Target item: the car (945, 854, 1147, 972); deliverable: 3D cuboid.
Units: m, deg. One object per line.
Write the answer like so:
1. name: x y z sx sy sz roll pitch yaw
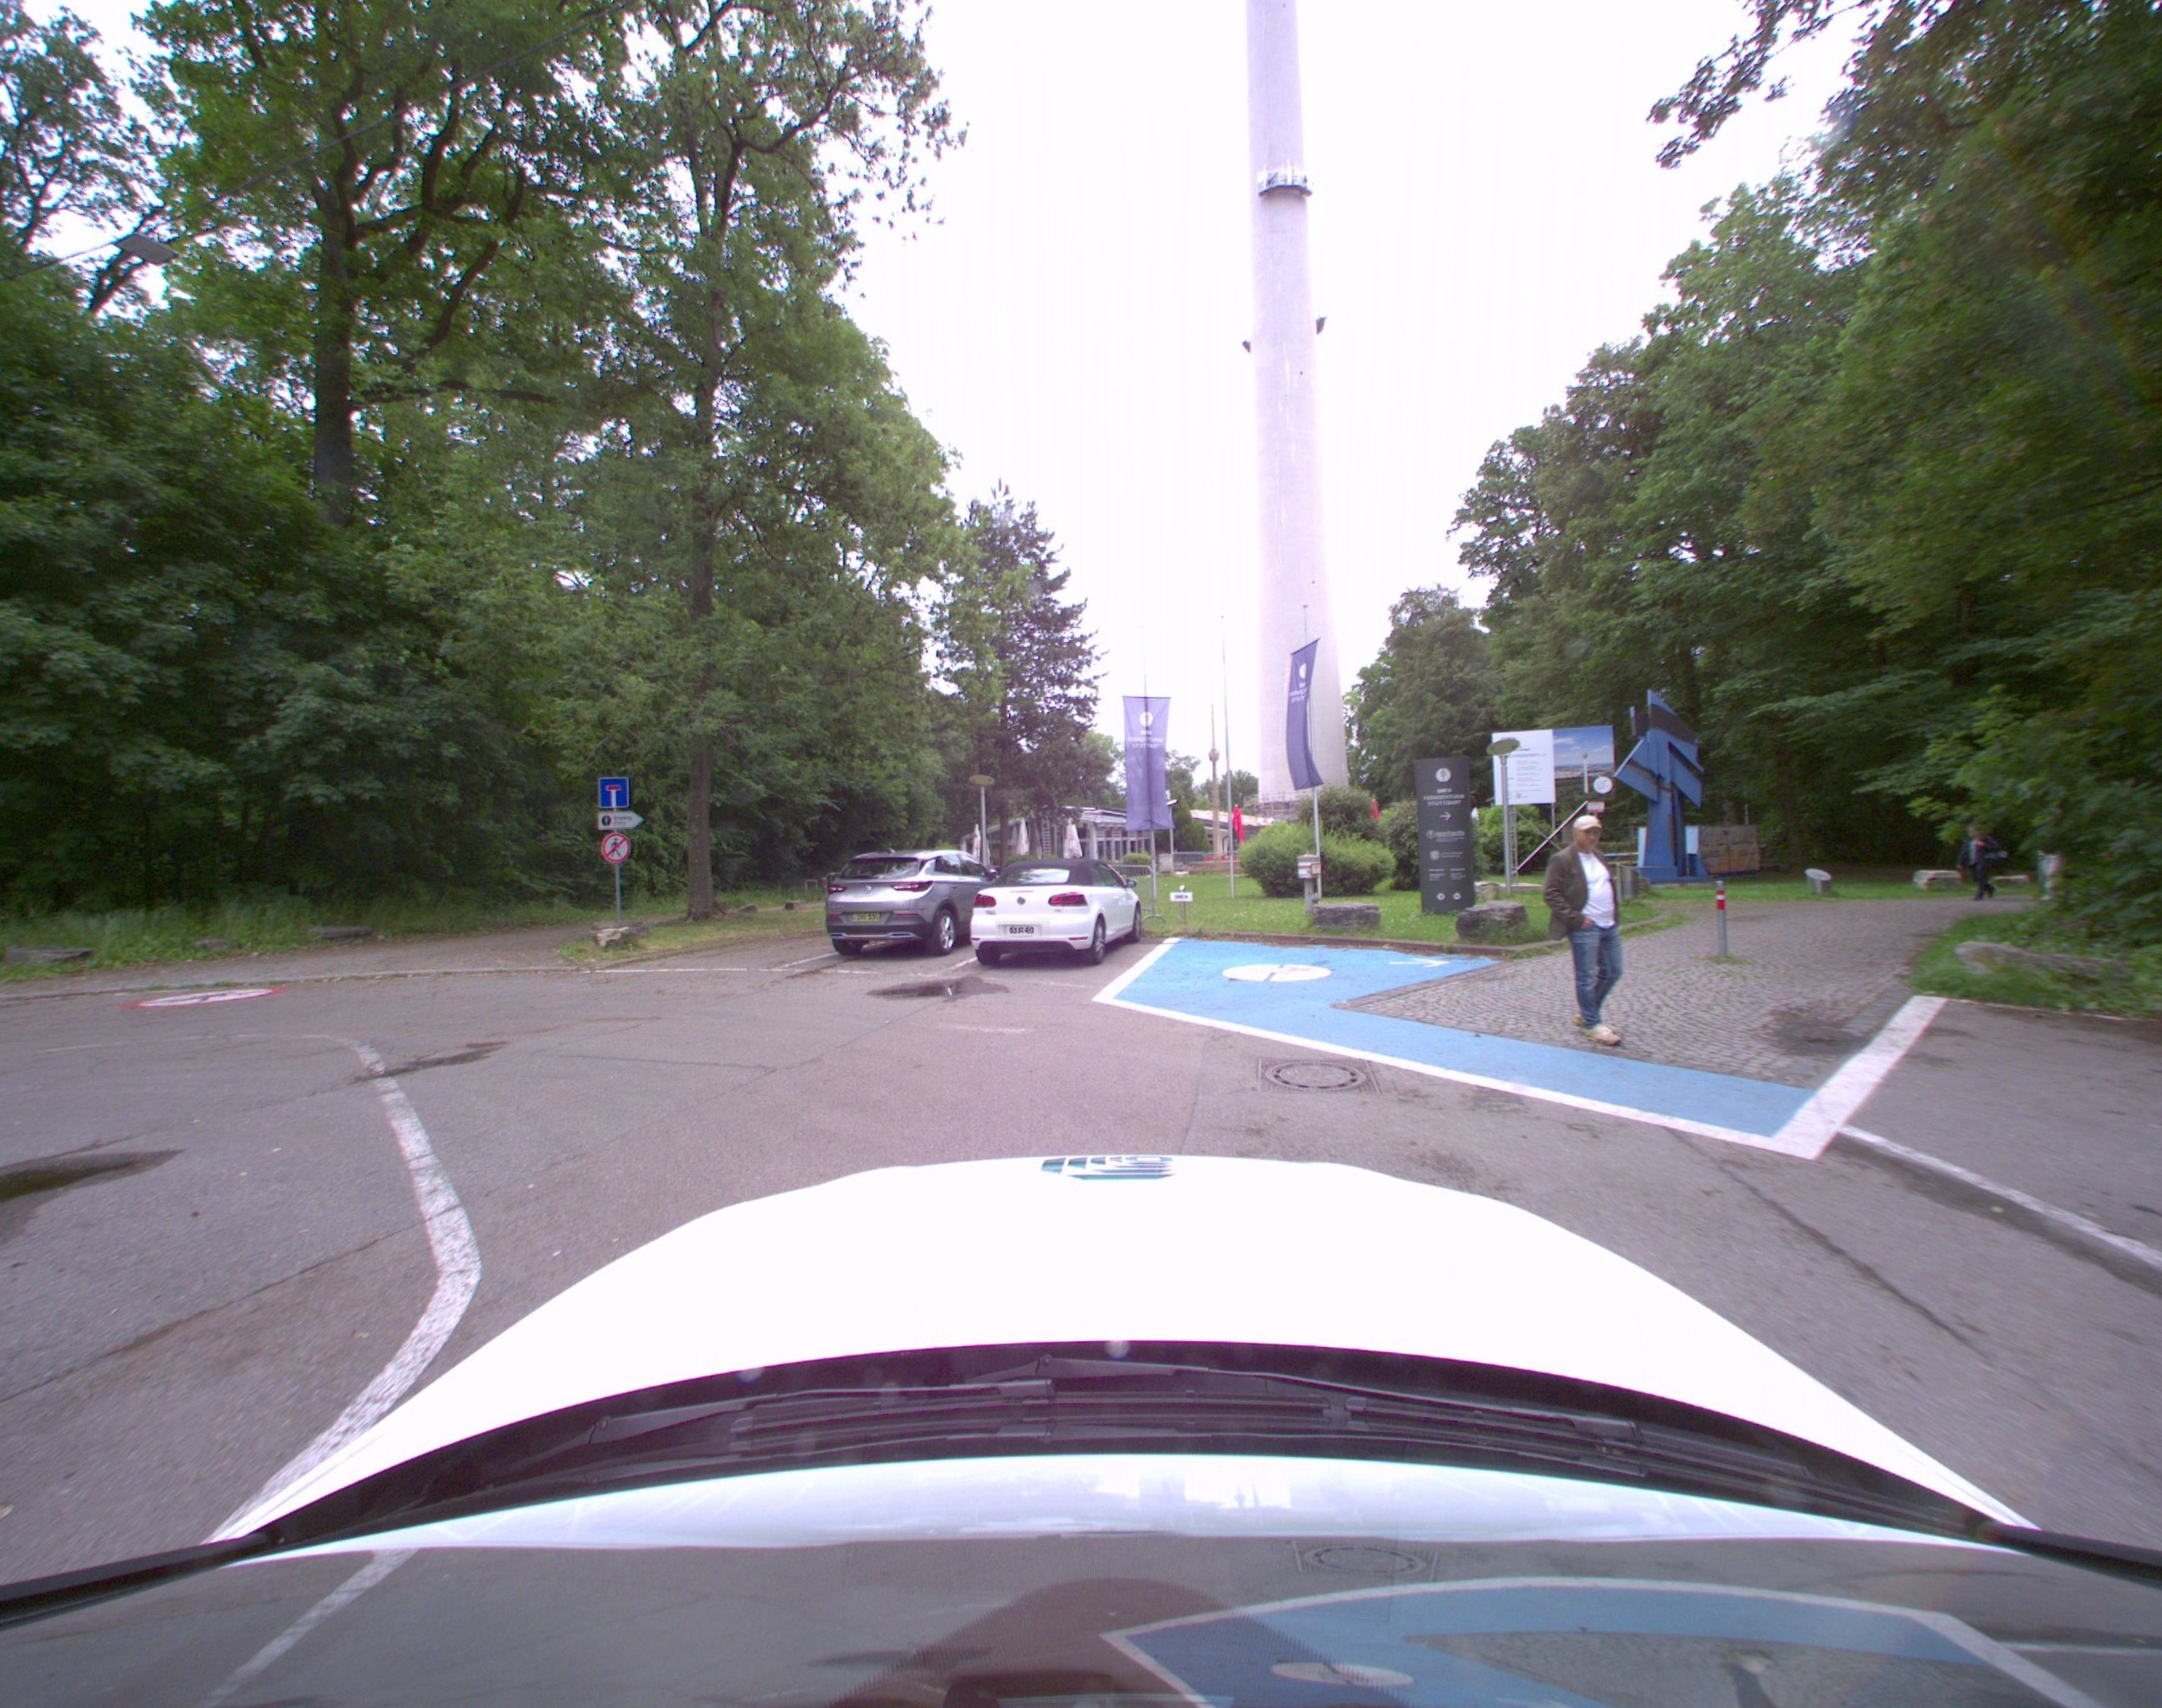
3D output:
1. car: -0.321 0.761 12.351 1.879 1.428 4.017 -2 0 15

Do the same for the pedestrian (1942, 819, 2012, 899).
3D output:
1. pedestrian: 18.919 0.094 17.204 0.637 1.634 0.773 -2 0 -20

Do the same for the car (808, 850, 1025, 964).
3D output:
1. car: -2.522 0.758 13.620 1.879 1.585 4.017 -2 0 16

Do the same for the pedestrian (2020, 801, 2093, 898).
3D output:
1. pedestrian: 19.849 -0.087 16.574 0.668 1.916 0.729 -2 0 -20

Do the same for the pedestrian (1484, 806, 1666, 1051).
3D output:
1. pedestrian: 3.788 0.520 6.299 0.763 1.725 0.892 -1 0 -16
